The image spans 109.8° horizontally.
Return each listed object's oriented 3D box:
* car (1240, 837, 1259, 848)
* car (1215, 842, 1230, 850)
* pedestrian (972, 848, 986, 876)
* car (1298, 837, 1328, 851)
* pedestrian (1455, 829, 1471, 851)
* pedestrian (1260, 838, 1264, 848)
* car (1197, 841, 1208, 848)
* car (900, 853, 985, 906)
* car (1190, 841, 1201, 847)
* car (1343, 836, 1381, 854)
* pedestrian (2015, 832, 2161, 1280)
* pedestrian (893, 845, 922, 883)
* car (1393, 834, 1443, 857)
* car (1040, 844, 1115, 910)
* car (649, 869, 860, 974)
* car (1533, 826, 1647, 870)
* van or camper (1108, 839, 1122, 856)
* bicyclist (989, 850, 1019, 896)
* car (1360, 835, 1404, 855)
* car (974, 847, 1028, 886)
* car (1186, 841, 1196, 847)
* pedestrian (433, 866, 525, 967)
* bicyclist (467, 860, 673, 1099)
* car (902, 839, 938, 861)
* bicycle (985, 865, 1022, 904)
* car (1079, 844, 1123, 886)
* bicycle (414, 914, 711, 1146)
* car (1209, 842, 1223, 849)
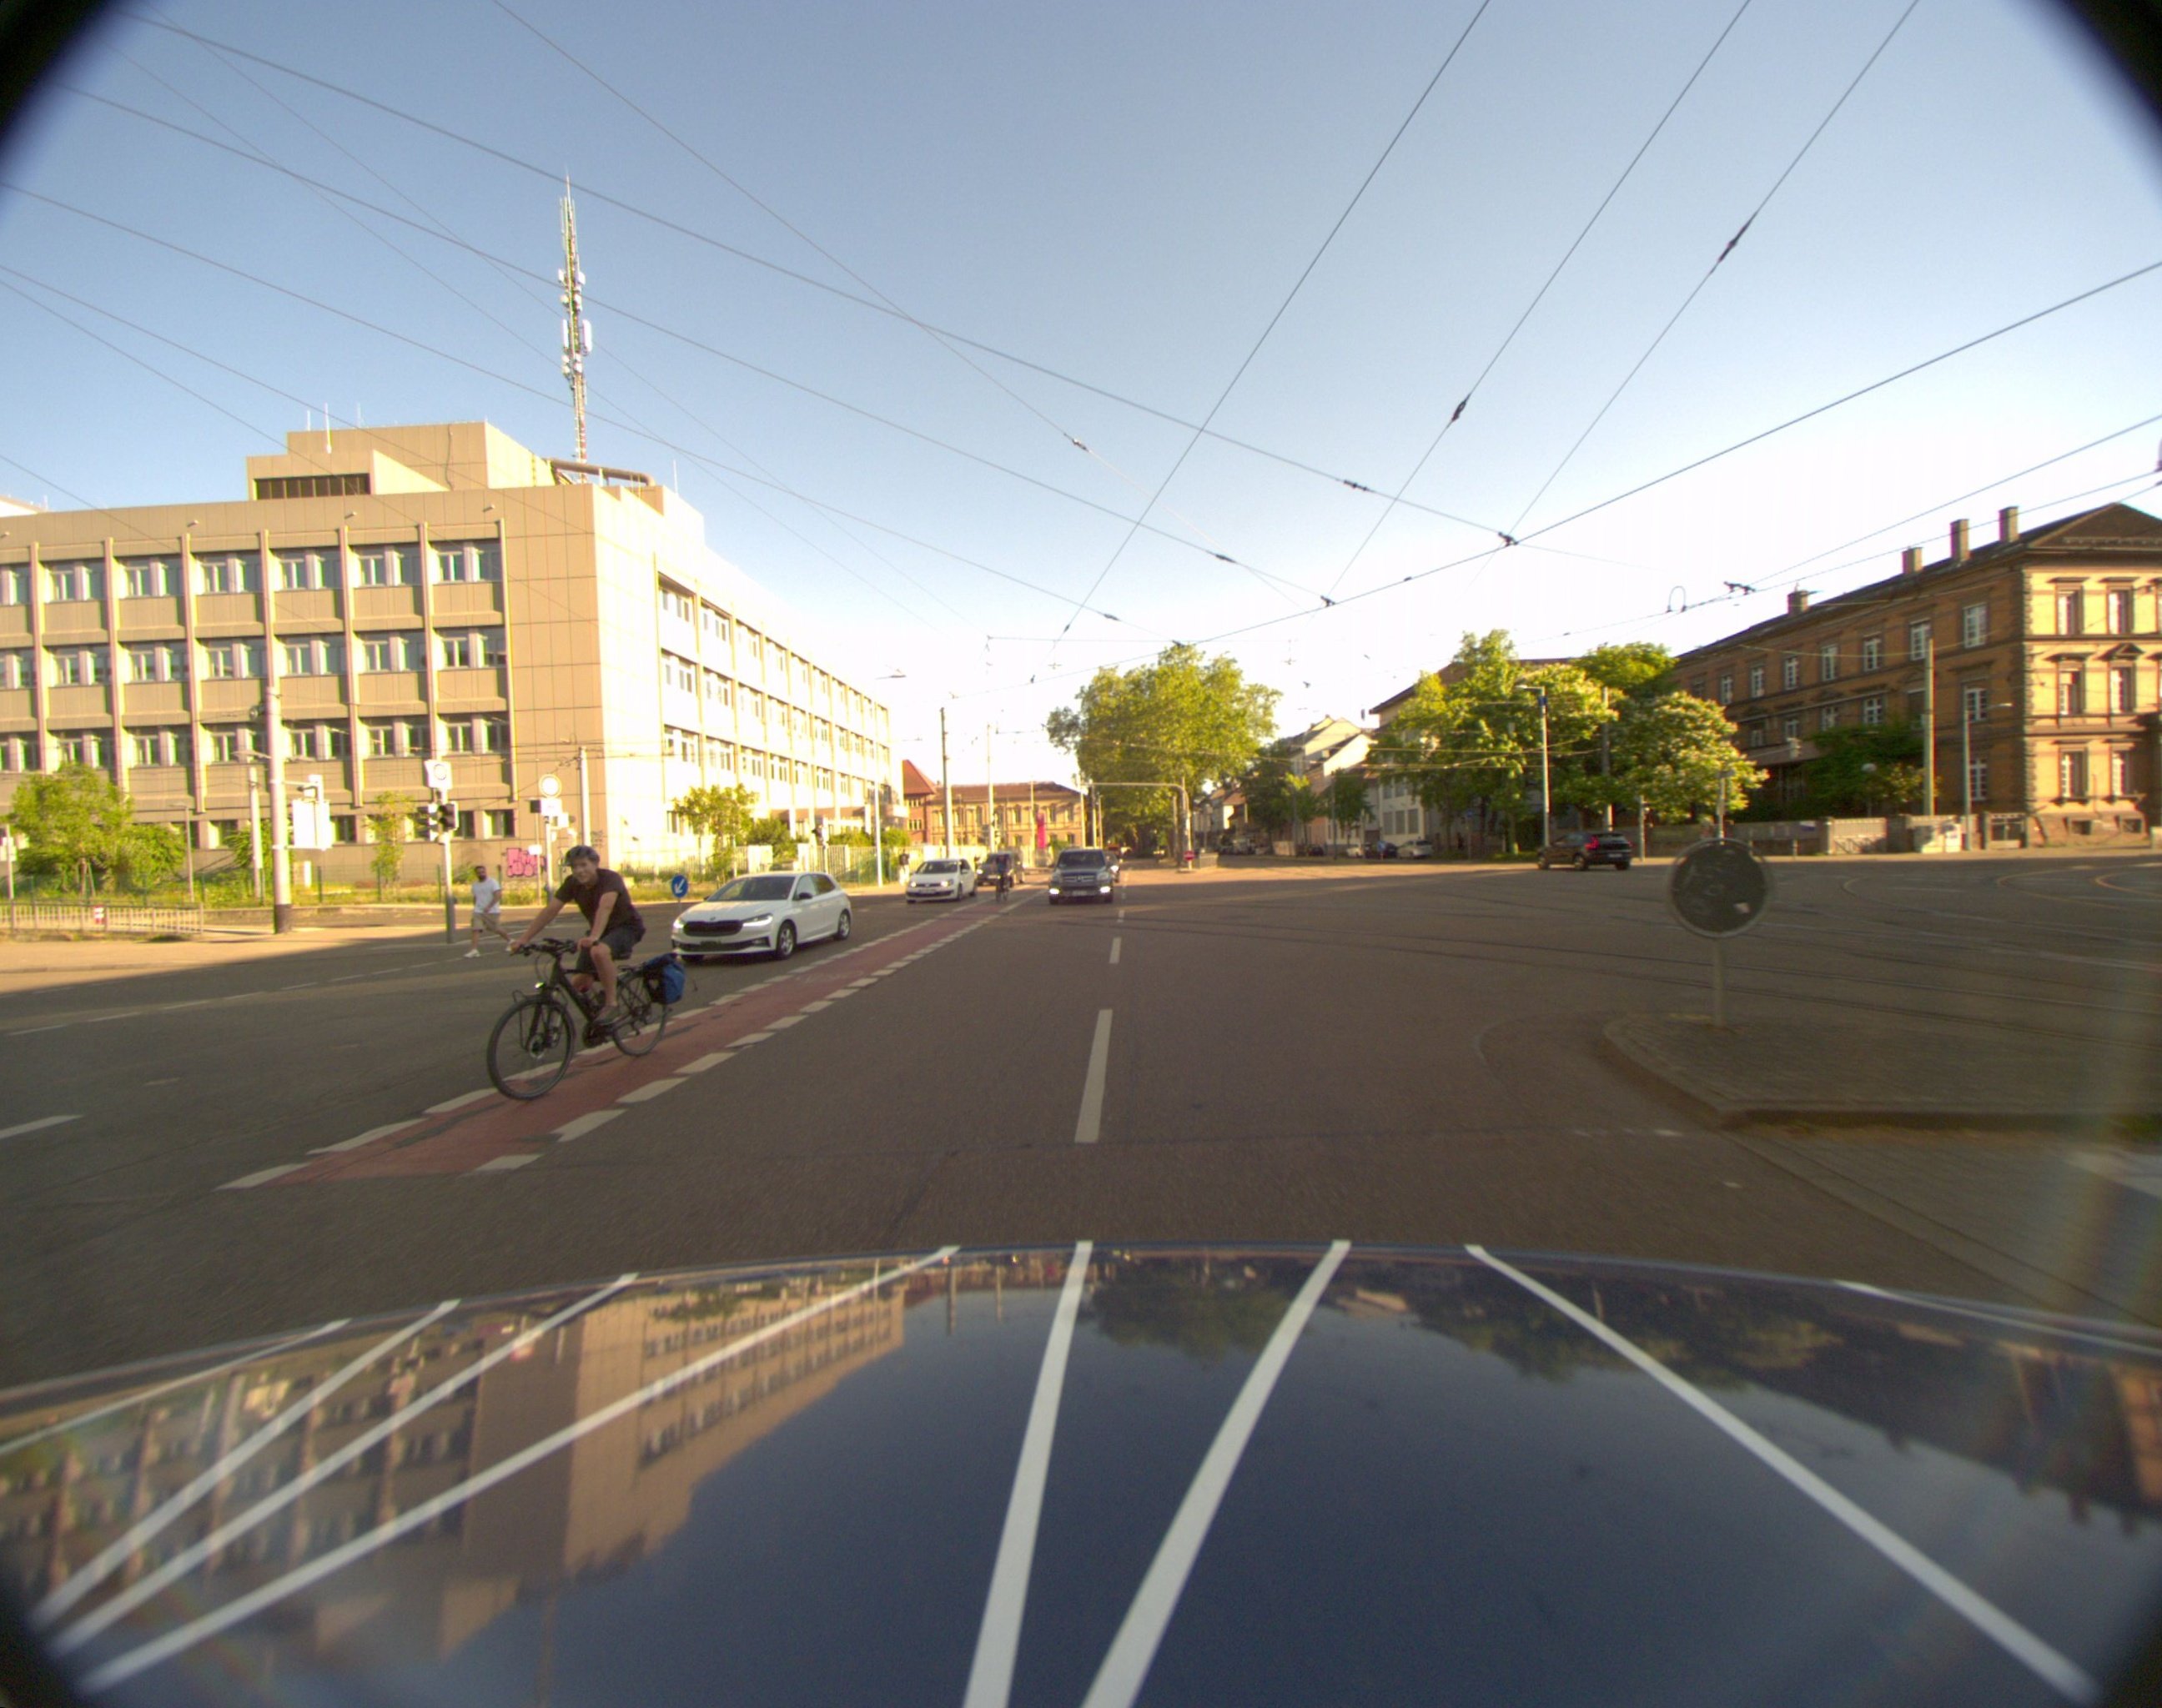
[{"bbox_3d":[29.086,-2.001,131.132,2.087,1.664,4.532,-5,1,0],"label":"car"},{"bbox_3d":[28.742,-1.644,154.017,2.087,1.531,4.516,-5,1,0],"label":"car"},{"bbox_3d":[-6.360,0.486,47.276,0.592,1.752,0.770,-2,1,8],"label":"pedestrian"},{"bbox_3d":[27.363,-1.164,89.745,2.087,1.462,4.579,-5,1,0],"label":"car"},{"bbox_3d":[30.464,-1.107,60.623,0.735,1.742,1.019,-2,1,1],"label":"pedestrian"},{"bbox_3d":[32.359,-2.000,135.935,0.561,1.799,0.705,-2,1,5],"label":"pedestrian"},{"bbox_3d":[30.634,-2.327,191.896,2.087,1.531,4.255,-5,1,0],"label":"car"},{"bbox_3d":[-4.644,0.809,26.105,1.793,1.493,4.301,-5,1,3],"label":"car"},{"bbox_3d":[30.500,-2.710,202.214,2.087,1.531,4.009,-5,1,0],"label":"car"},{"bbox_3d":[26.961,-0.857,73.019,2.087,1.481,3.996,-5,1,0],"label":"car"},{"bbox_3d":[4.285,0.685,2.676,1.047,1.535,0.695,-1,1,19],"label":"pedestrian"},{"bbox_3d":[-8.563,0.484,37.473,1.084,1.802,0.735,-3,2,-41],"label":"pedestrian"},{"bbox_3d":[26.606,-0.686,60.170,2.087,1.610,4.097,-5,1,0],"label":"car"},{"bbox_3d":[0.002,0.607,22.944,1.908,1.634,4.517,-5,1,2],"label":"car"},{"bbox_3d":[-5.533,1.065,13.530,1.705,1.381,4.075,-3,1,4],"label":"car"},{"bbox_3d":[21.092,-0.260,31.745,1.960,1.663,4.260,-2,1,1],"label":"car"},{"bbox_3d":[5.496,-1.123,122.553,1.998,2.578,5.626,-3,1,3],"label":"van or camper"},{"bbox_3d":[-2.481,0.598,24.539,0.727,1.414,0.859,-3,1,3],"label":"bicyclist"},{"bbox_3d":[26.460,-0.781,66.958,2.087,1.493,4.457,-5,1,0],"label":"car"},{"bbox_3d":[-3.815,0.552,36.939,1.793,1.634,4.301,-5,1,3],"label":"car"},{"bbox_3d":[31.428,-2.766,217.544,2.087,1.531,4.120,-5,1,0],"label":"car"},{"bbox_3d":[-11.688,1.178,14.804,0.779,1.813,1.215,-2,1,-4],"label":"pedestrian"},{"bbox_3d":[-3.764,0.860,5.698,0.651,1.594,1.089,-2,1,8],"label":"bicyclist"},{"bbox_3d":[-14.712,-0.390,69.876,1.998,1.832,4.786,-2,1,3],"label":"car"},{"bbox_3d":[-2.466,0.953,24.483,0.764,1.138,2.307,-2,1,4],"label":"bicycle"},{"bbox_3d":[1.007,0.458,35.694,1.793,1.694,4.301,-5,1,3],"label":"car"},{"bbox_3d":[-3.748,1.187,5.763,0.651,1.273,1.967,-2,1,8],"label":"bicycle"},{"bbox_3d":[29.680,-1.860,167.090,2.087,1.531,5.104,-5,1,0],"label":"car"}]
